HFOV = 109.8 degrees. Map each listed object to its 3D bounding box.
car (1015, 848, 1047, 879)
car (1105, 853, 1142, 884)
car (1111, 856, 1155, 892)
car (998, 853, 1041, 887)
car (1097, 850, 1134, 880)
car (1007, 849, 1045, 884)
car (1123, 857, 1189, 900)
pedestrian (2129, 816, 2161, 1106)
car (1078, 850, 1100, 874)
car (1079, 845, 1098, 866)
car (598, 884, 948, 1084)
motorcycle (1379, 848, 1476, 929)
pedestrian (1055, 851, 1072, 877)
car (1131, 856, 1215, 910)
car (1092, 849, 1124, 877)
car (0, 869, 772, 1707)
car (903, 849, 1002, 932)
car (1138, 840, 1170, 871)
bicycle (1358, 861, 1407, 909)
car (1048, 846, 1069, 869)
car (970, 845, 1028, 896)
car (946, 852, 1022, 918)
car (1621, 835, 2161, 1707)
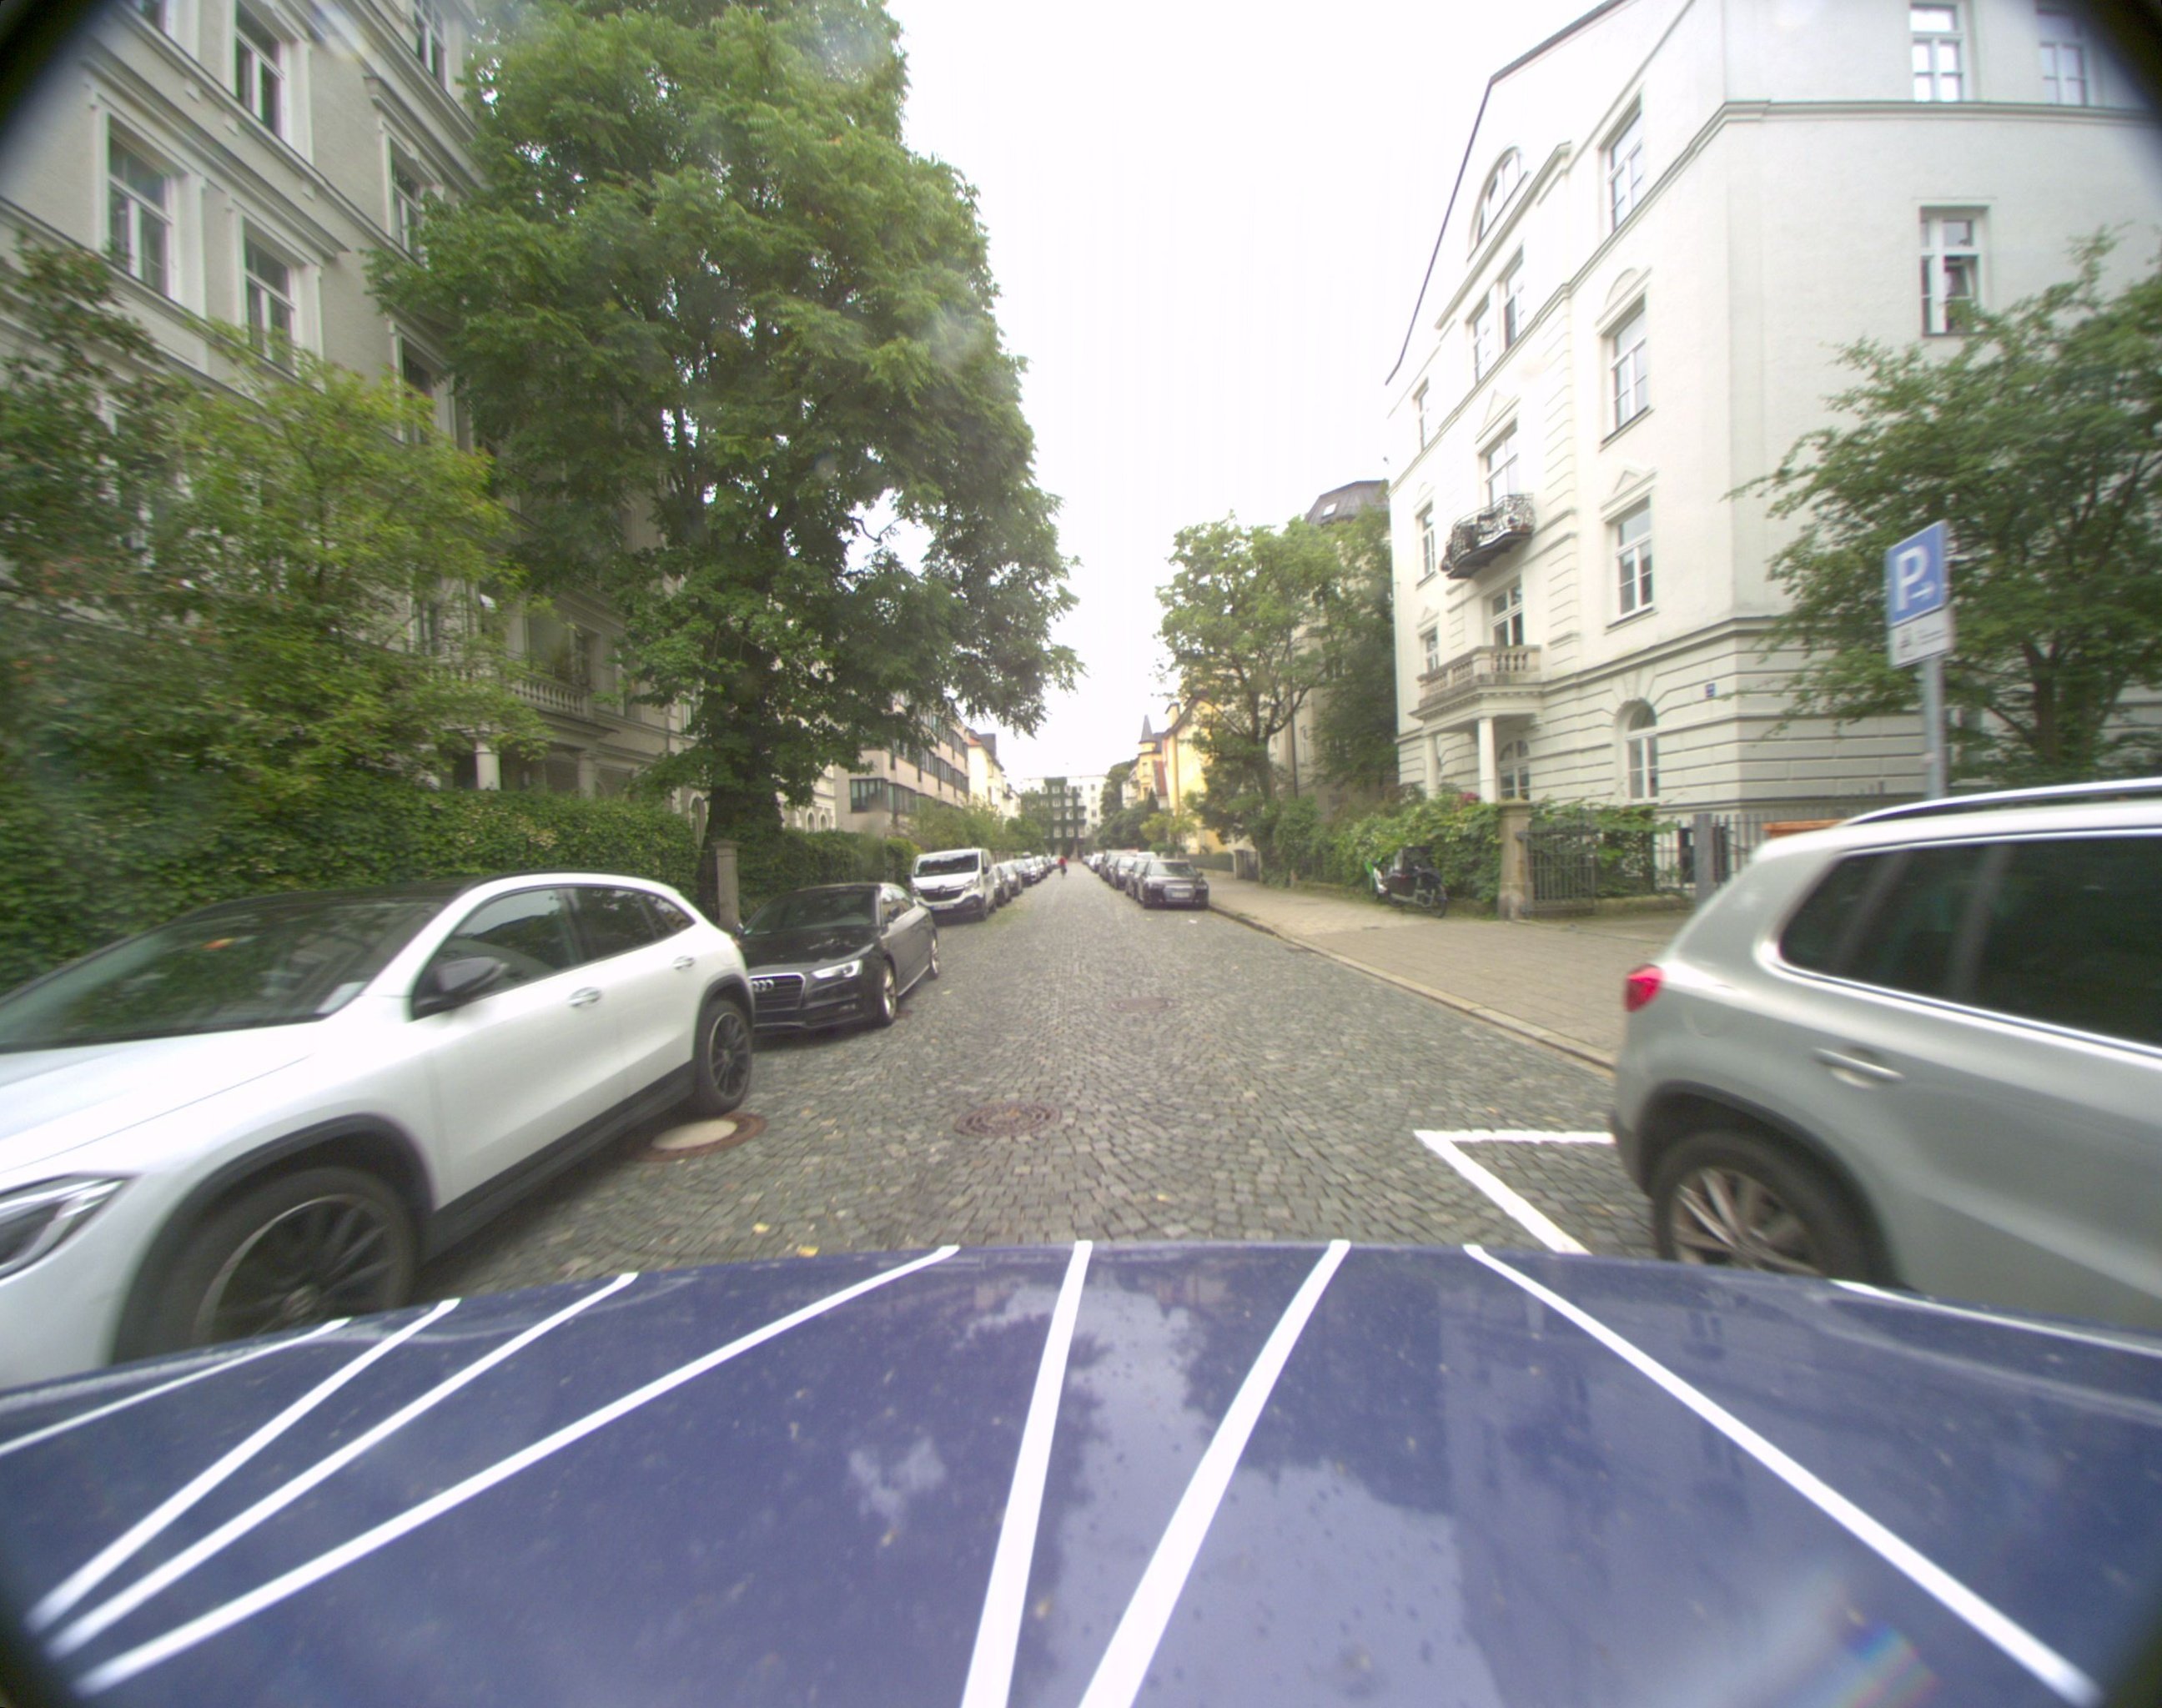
[{"bbox_3d":[-3.610,0.658,55.686,1.998,2.002,3.999,-3,1,0],"label":"car"},{"bbox_3d":[2.173,0.724,39.985,1.681,1.369,3.999,-3,1,0],"label":"car"},{"bbox_3d":[2.355,0.876,35.157,1.714,1.416,3.999,-3,1,0],"label":"car"},{"bbox_3d":[-3.465,0.842,43.316,1.998,1.705,3.999,-3,1,0],"label":"car"},{"bbox_3d":[1.975,0.588,44.556,1.886,1.561,3.999,-3,1,0],"label":"car"},{"bbox_3d":[-3.460,0.728,48.189,1.998,2.002,3.999,-3,1,0],"label":"car"},{"bbox_3d":[2.662,0.835,27.770,1.998,1.324,4.000,-3,0,0],"label":"car"},{"bbox_3d":[6.249,0.594,3.983,0.665,1.618,0.670,-2,2,32],"label":"pedestrian"},{"bbox_3d":[0.681,0.668,67.063,1.763,2.002,3.999,-3,1,0],"label":"car"},{"bbox_3d":[0.777,0.132,76.106,1.791,2.002,3.214,-3,1,0],"label":"car"},{"bbox_3d":[-2.839,1.122,8.395,1.924,1.290,4.808,-2,0,-1],"label":"car"},{"bbox_3d":[6.780,0.618,15.019,0.738,1.420,2.244,-4,1,-3],"label":"motorcycle"},{"bbox_3d":[-1.302,0.730,55.775,1.105,1.768,1.263,-3,1,0],"label":"pedestrian"},{"bbox_3d":[2.647,0.791,22.979,1.886,1.411,4.807,0,1,-1],"label":"car"},{"bbox_3d":[1.863,0.583,53.327,1.998,1.789,3.999,-3,1,0],"label":"car"},{"bbox_3d":[-3.103,0.977,3.198,1.752,1.591,4.471,-3,1,-1],"label":"car"},{"bbox_3d":[-3.374,0.865,20.857,1.819,1.809,4.807,-6,1,-1],"label":"car"},{"bbox_3d":[5.014,0.073,52.395,1.763,2.002,3.999,-3,1,0],"label":"car"},{"bbox_3d":[7.162,0.716,18.109,0.357,1.044,1.744,-3,1,-3],"label":"bicycle"},{"bbox_3d":[-2.147,0.336,72.265,1.763,2.002,3.999,-3,1,0],"label":"car"},{"bbox_3d":[-3.511,0.648,33.374,1.998,2.002,3.999,-3,1,0],"label":"car"},{"bbox_3d":[-3.289,0.993,26.449,1.998,2.002,3.999,-3,1,0],"label":"car"},{"bbox_3d":[2.740,0.786,0.531,1.694,1.563,4.067,-3,1,-2],"label":"car"}]
